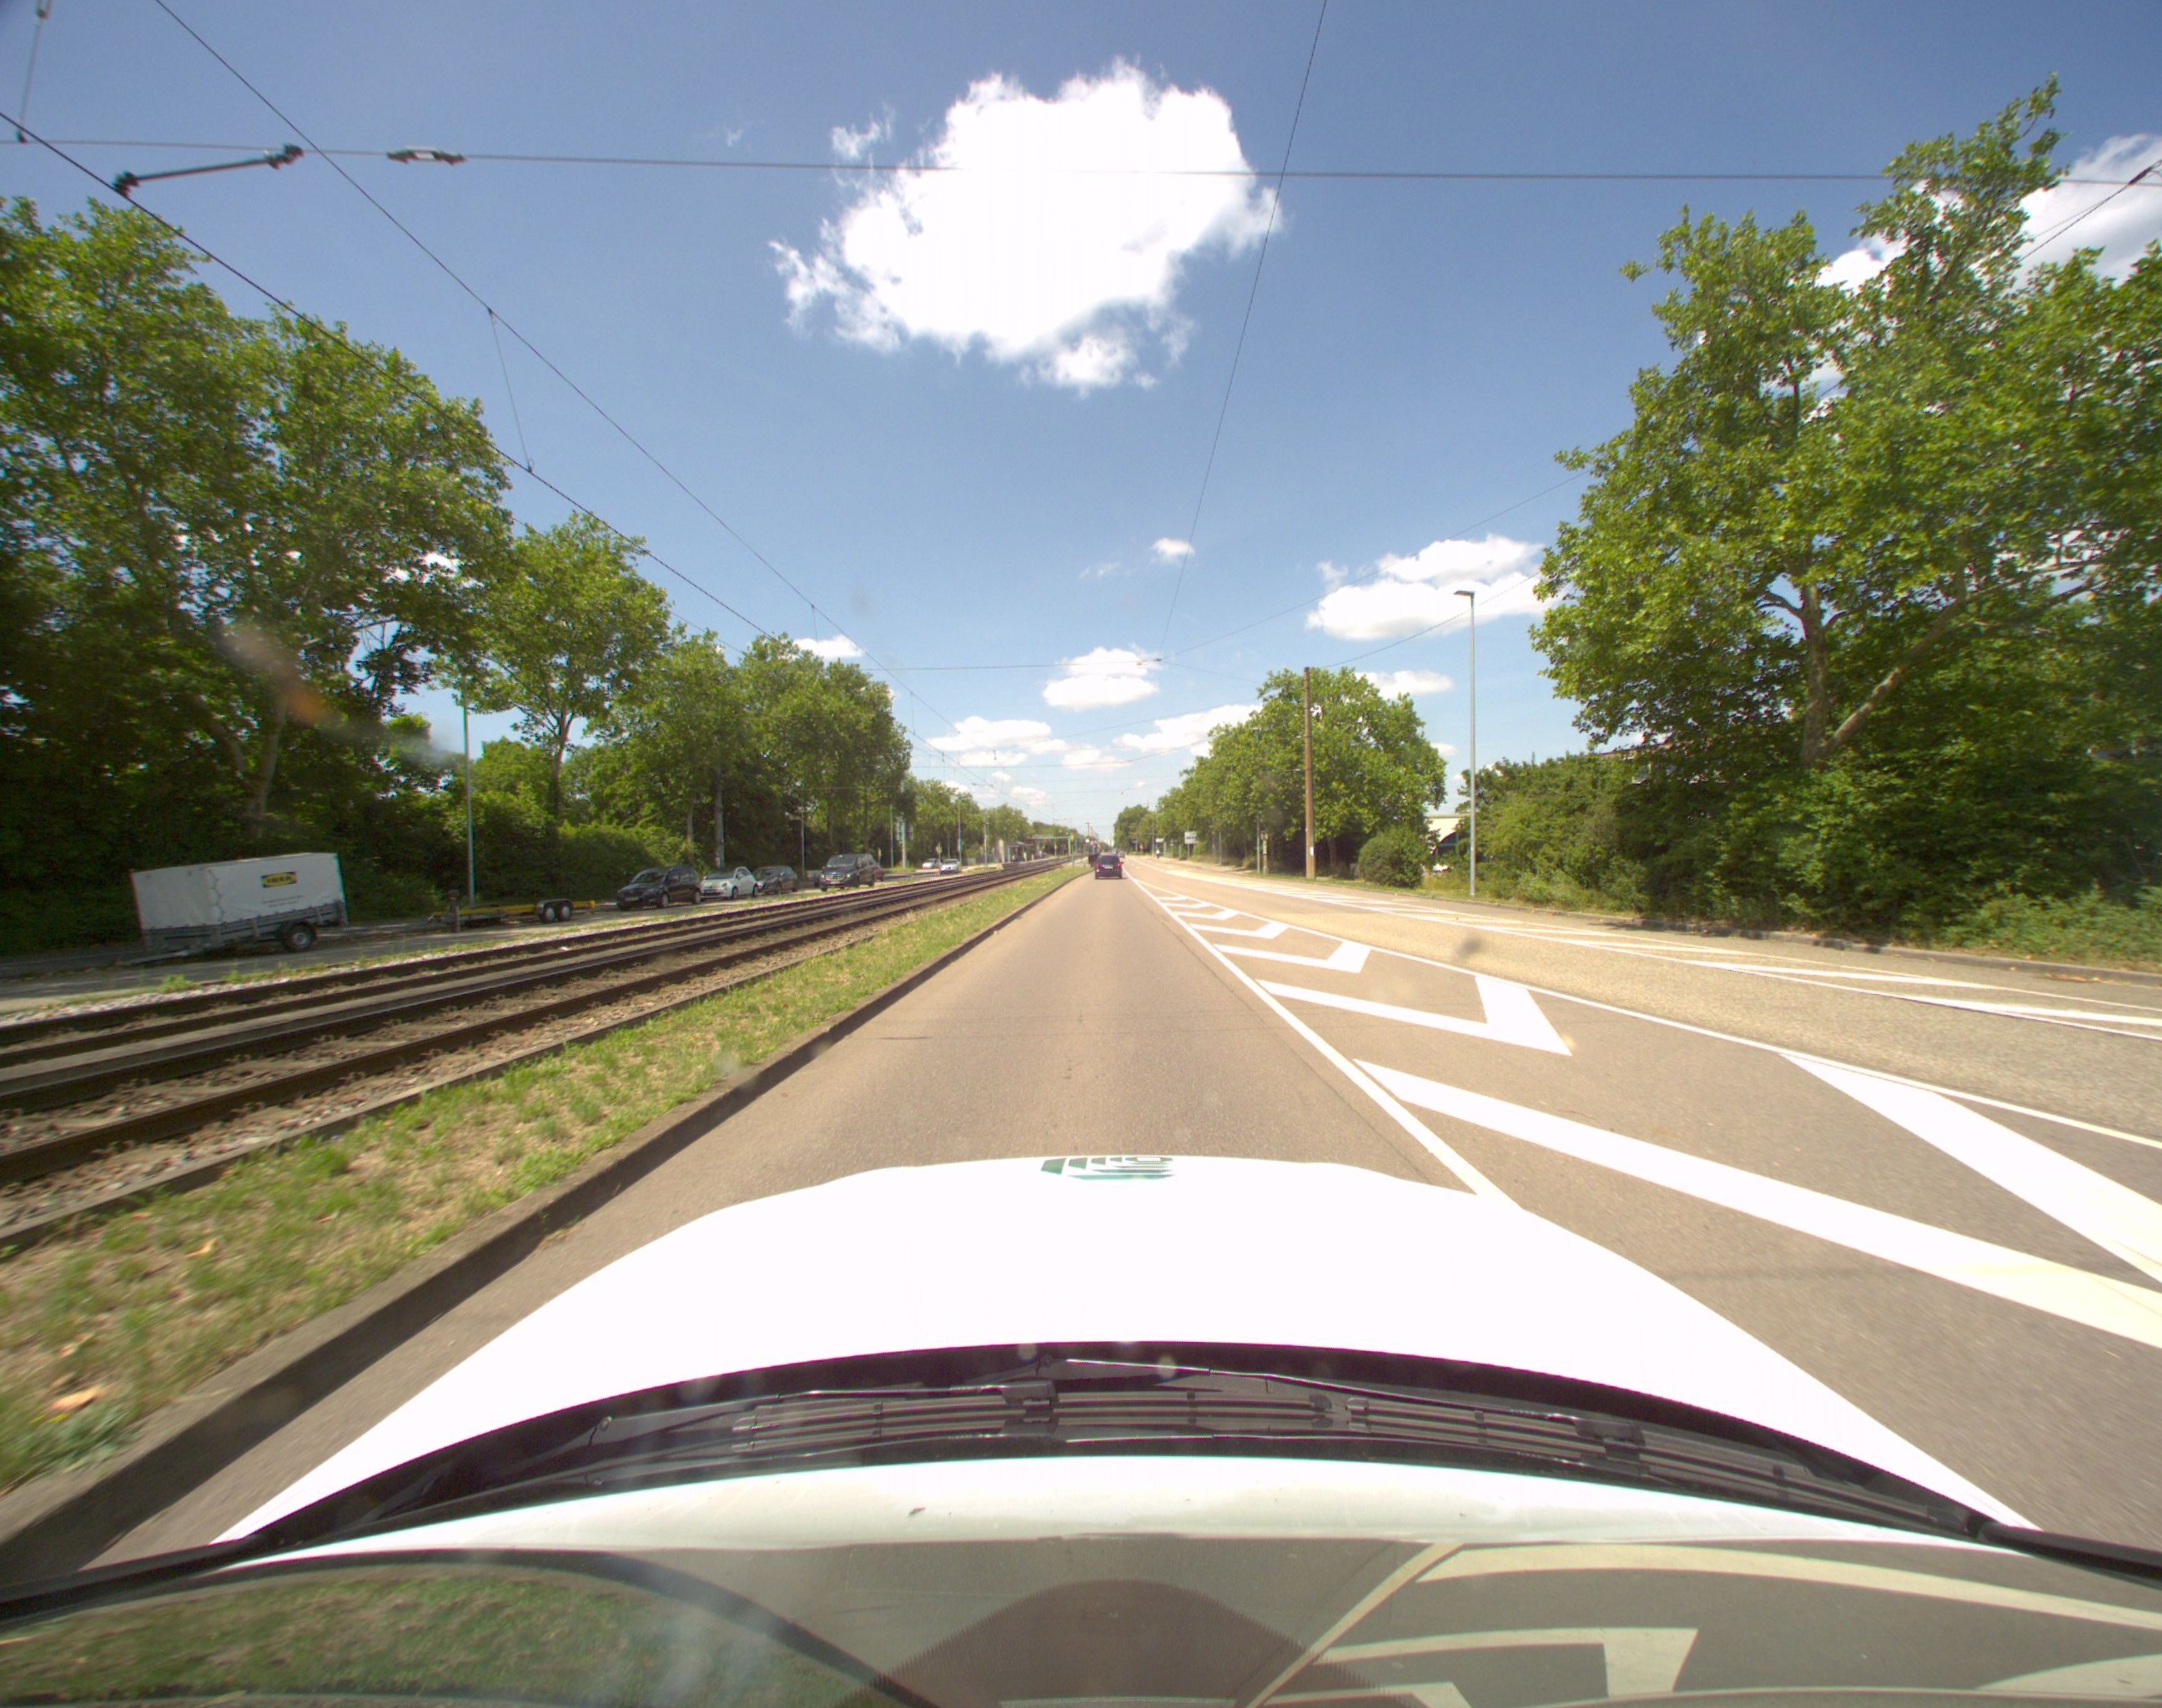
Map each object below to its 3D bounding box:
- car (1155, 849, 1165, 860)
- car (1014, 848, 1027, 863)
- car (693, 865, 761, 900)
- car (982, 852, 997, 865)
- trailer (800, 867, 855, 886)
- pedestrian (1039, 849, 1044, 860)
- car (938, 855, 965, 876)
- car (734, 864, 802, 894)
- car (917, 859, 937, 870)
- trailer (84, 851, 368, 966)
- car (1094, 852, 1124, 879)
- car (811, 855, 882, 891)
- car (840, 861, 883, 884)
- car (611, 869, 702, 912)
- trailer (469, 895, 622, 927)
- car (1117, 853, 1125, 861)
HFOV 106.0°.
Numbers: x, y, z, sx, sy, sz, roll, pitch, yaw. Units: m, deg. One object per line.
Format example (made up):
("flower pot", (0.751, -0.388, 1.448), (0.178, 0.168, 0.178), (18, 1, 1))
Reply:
("car", (14.655, 0.064, 150.969), (1.606, 2.013, 3.441), (0, 1, 1))
("car", (-8.641, 0.157, 116.568), (1.580, 2.013, 4.110), (0, 1, 1))
("car", (-16.124, 1.264, 37.279), (1.429, 1.451, 3.740), (-1, 0, 0))
("car", (-14.040, 0.661, 125.404), (1.988, 2.013, 3.998), (0, 1, -1))
("trailer", (-16.155, 1.429, 52.232), (1.886, 1.044, 5.104), (0, 0, 1))
("pedestrian", (-7.518, 0.112, 154.348), (0.949, 2.013, 0.892), (0, 1, 1))
("car", (-12.964, 1.122, 81.697), (1.986, 2.013, 4.001), (-1, 0, 1))
("car", (-16.254, 1.276, 42.545), (1.864, 1.401, 4.417), (-1, 0, 0))
("car", (-23.307, 1.550, 123.421), (1.986, 1.574, 4.002), (-1, 0, 2))
("trailer", (-16.833, 0.956, 16.364), (1.605, 2.013, 3.914), (0, 0, -1))
("car", (1.869, 0.699, 53.351), (1.845, 1.570, 4.392), (0, 2, 3))
("car", (-12.479, 0.972, 43.754), (2.109, 1.790, 5.407), (-1, 0, 1))
("car", (-16.163, 1.348, 60.270), (1.986, 1.574, 4.001), (-1, 0, 1))
("car", (-16.228, 1.349, 31.373), (1.429, 1.451, 3.921), (-1, 0, 0))
("trailer", (-16.327, 1.707, 25.107), (1.986, 0.742, 4.001), (-1, -1, 1))
("car", (9.505, 0.669, 192.641), (1.877, 1.639, 4.003), (2, 1, 3))
